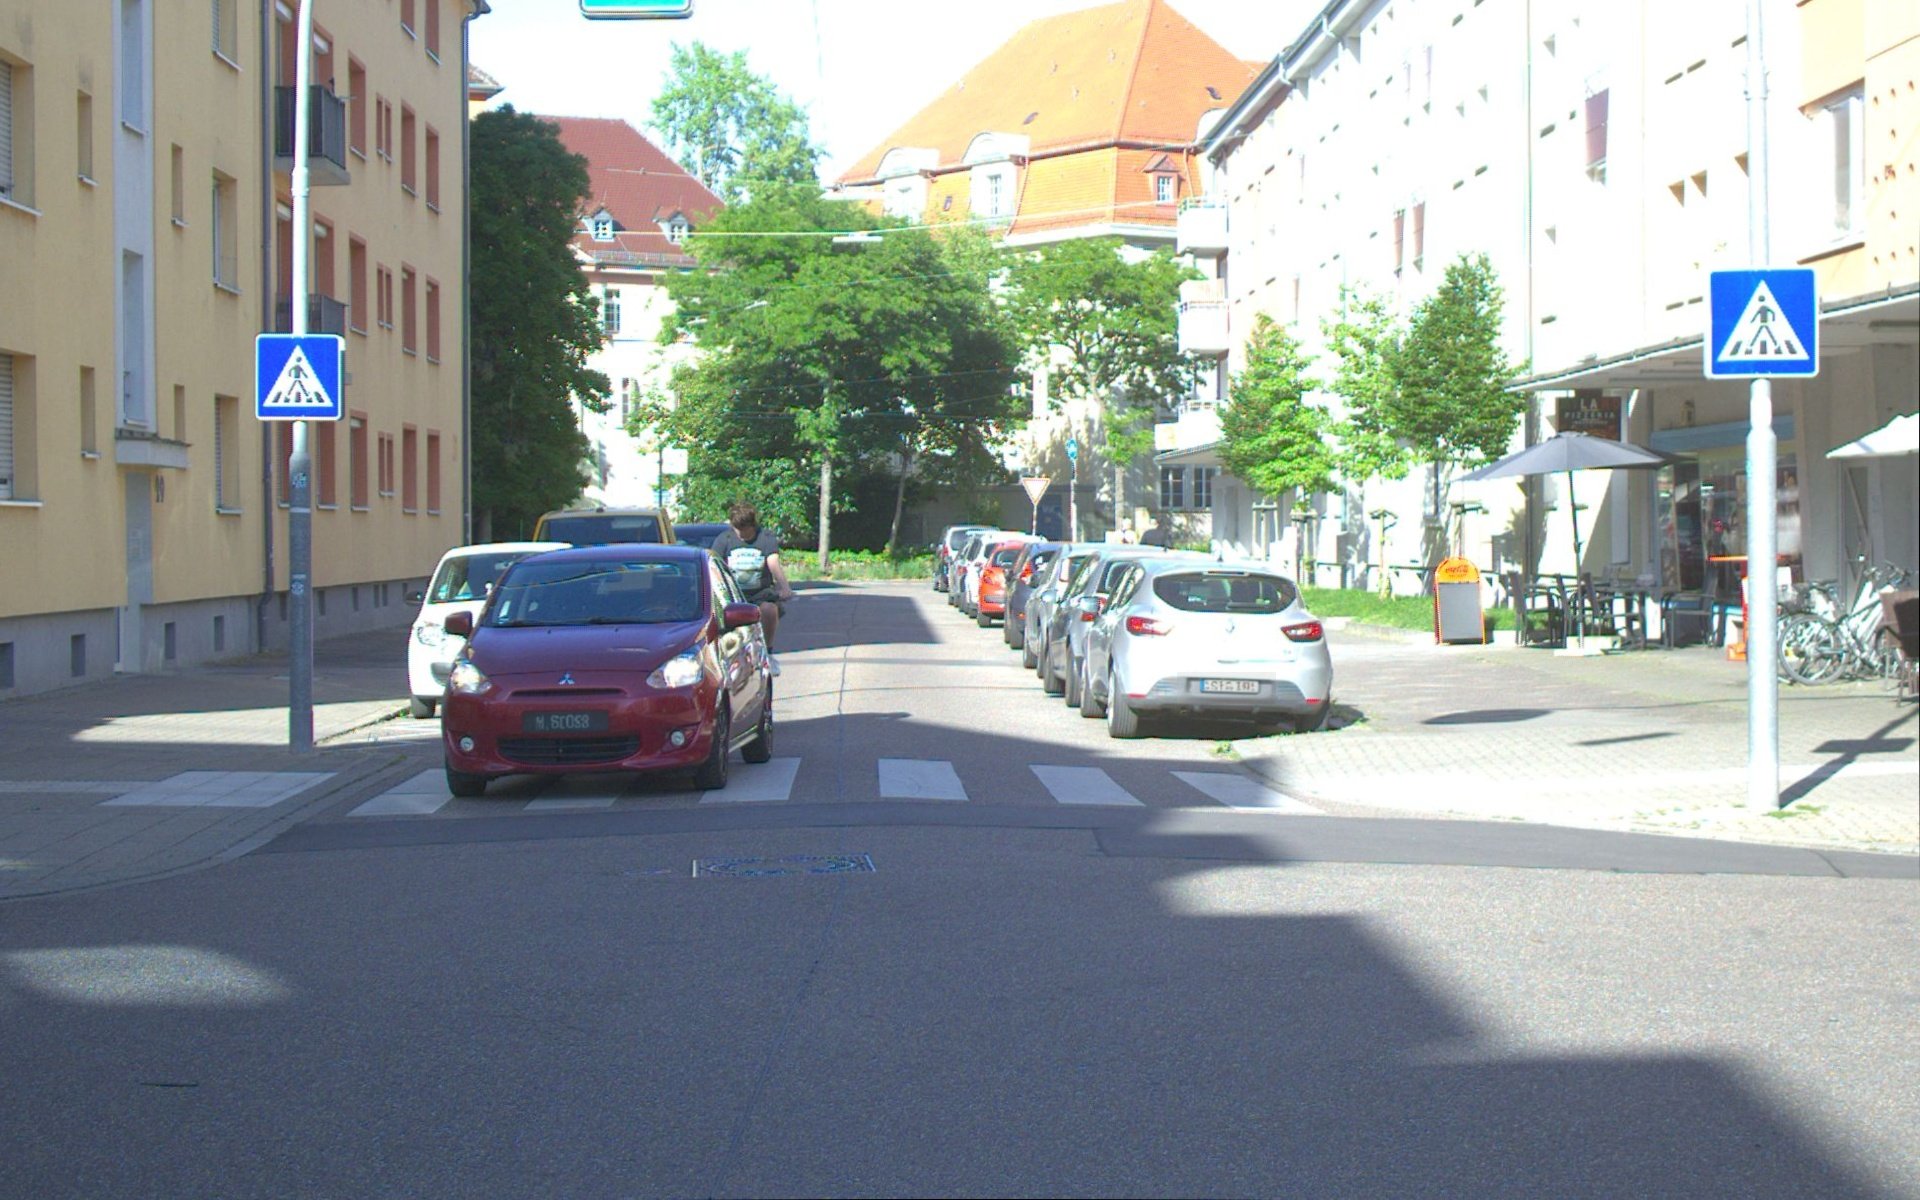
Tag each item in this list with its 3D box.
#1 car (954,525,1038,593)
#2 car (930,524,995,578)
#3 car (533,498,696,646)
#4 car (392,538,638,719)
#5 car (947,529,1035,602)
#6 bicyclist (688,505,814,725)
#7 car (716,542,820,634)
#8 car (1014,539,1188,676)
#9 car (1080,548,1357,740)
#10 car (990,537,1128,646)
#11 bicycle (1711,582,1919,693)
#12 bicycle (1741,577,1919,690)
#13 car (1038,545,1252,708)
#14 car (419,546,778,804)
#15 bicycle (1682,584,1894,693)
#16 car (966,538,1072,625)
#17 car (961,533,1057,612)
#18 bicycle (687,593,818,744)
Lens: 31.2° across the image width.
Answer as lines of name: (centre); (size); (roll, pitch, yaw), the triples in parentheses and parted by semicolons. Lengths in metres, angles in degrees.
car: (0.765, -0.903, 74.605); (1.637, 1.436, 3.419); (-1, 1, -2)
car: (0.050, -1.351, 93.800); (1.637, 1.436, 3.419); (-1, 1, -2)
car: (-4.322, -0.381, 43.547); (1.697, 1.772, 4.099); (-1, 1, -1)
car: (-4.080, 0.215, 32.108); (1.791, 1.475, 4.099); (-2, 2, -1)
car: (0.611, -0.721, 69.972); (1.637, 1.436, 3.419); (-1, 1, -2)
bicyclist: (-1.586, 0.101, 26.232); (0.786, 1.615, 0.956); (-2, 1, 3)
car: (-3.142, -0.224, 56.501); (1.637, 1.436, 3.419); (-1, 1, -3)
car: (1.541, 0.048, 38.564); (1.637, 1.436, 3.419); (-1, 1, -3)
car: (2.044, 0.312, 28.055); (1.845, 1.436, 3.419); (-1, 1, -3)
car: (1.341, -0.147, 47.510); (1.637, 1.436, 3.419); (-1, 1, -3)
bicycle: (7.867, 0.335, 31.505); (1.806, 0.964, 0.674); (-1, 1, -11)
bicycle: (8.006, 0.293, 30.878); (1.806, 0.964, 0.674); (-1, 1, -11)
car: (1.713, 0.209, 32.734); (1.690, 1.436, 3.419); (-1, 1, -3)
car: (-2.142, 0.401, 21.227); (1.697, 1.436, 3.419); (-1, 1, 3)
bicycle: (7.736, 0.351, 32.132); (1.806, 0.964, 0.674); (-1, 1, -11)
car: (0.986, -0.339, 59.234); (1.637, 1.436, 3.419); (-1, 1, -2)
car: (0.908, -0.547, 65.252); (1.637, 1.436, 3.419); (-1, 1, -2)
bicycle: (-1.566, 0.503, 26.209); (0.778, 1.066, 1.789); (-1, 1, 3)
